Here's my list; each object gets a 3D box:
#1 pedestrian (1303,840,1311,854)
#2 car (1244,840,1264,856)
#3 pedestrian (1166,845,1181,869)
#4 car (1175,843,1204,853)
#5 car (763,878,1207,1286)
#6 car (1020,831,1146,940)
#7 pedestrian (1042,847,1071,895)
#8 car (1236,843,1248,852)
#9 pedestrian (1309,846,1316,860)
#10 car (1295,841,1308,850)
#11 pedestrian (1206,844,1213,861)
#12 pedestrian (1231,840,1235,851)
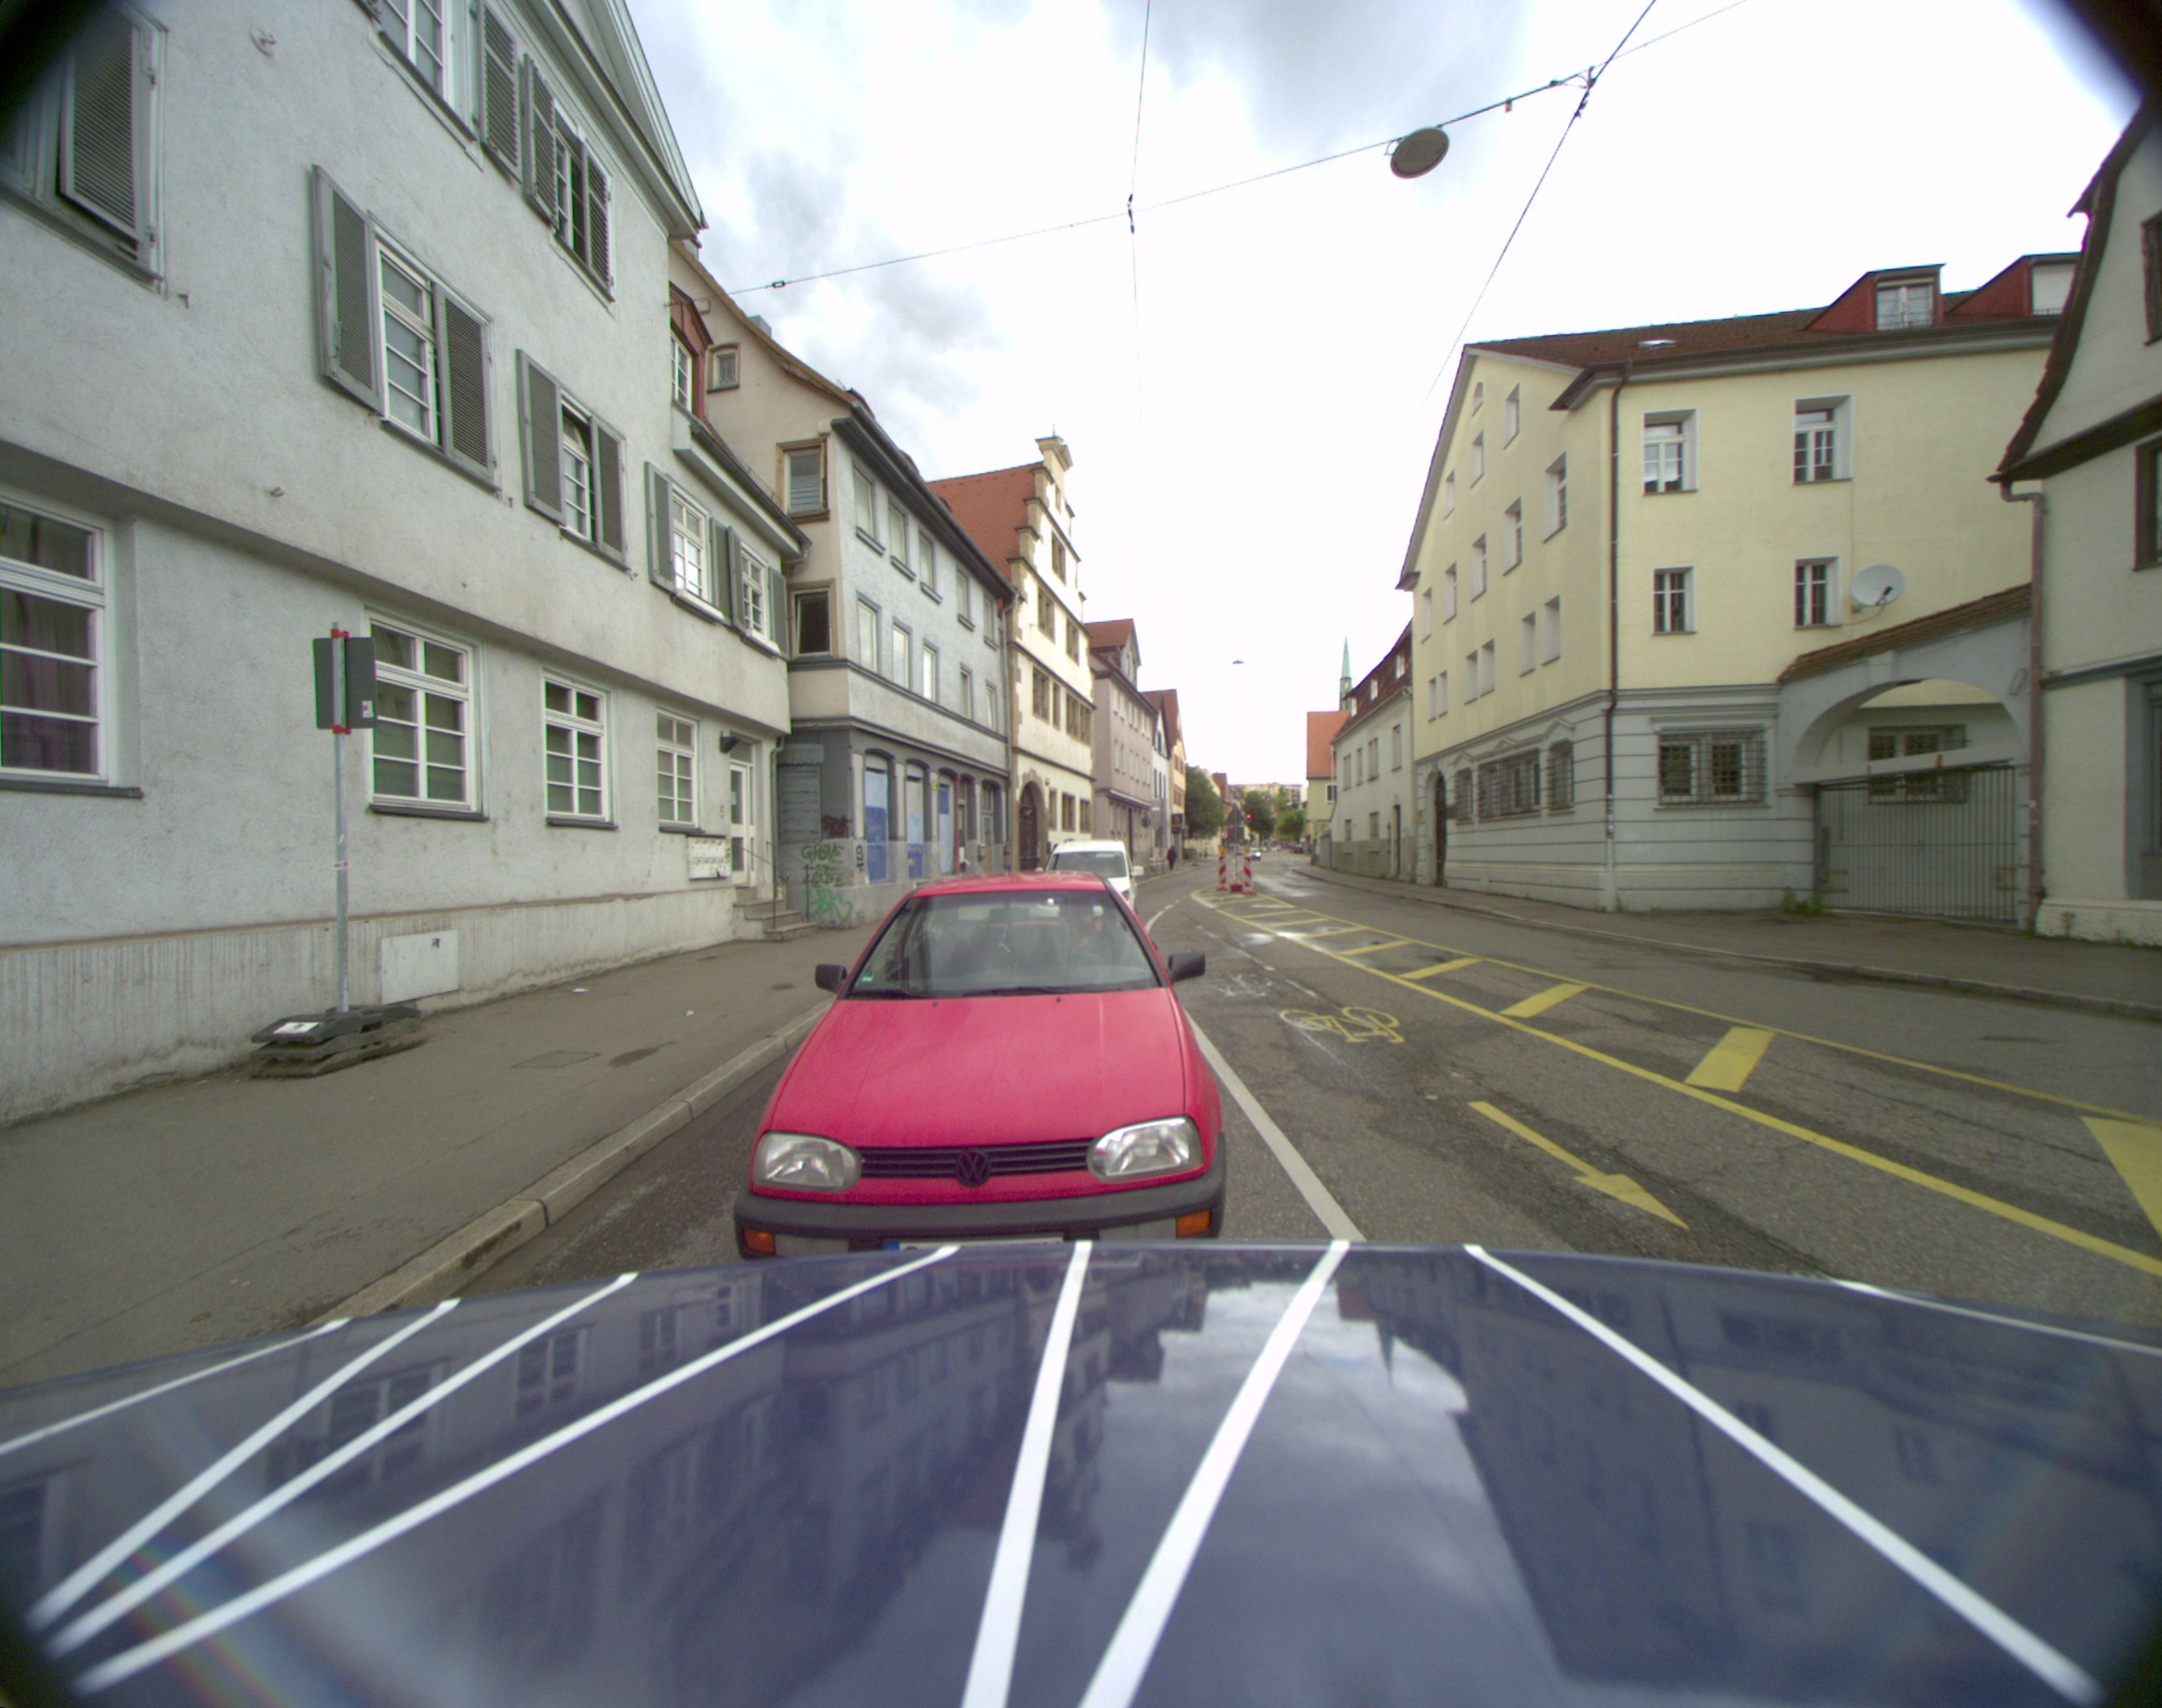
[{"bbox_3d":[34.413,-1.104,115.667,0.784,2.109,0.757,-1,0,-35],"label":"pedestrian"},{"bbox_3d":[19.914,-0.718,87.247,1.996,1.669,4.004,-1,1,15],"label":"car"},{"bbox_3d":[6.267,0.207,51.602,0.833,1.646,0.945,-1,0,15],"label":"pedestrian"},{"bbox_3d":[16.298,-0.892,113.633,3.992,1.455,2.002,-1,2,17],"label":"car"},{"bbox_3d":[-0.340,0.951,4.951,1.685,1.418,4.021,-1,0,1],"label":"car"},{"bbox_3d":[0.219,0.466,14.669,1.998,1.777,4.468,0,2,6],"label":"car"},{"bbox_3d":[-0.848,0.590,26.812,0.756,1.658,0.810,2,1,15],"label":"pedestrian"},{"bbox_3d":[28.322,-1.129,133.626,2.031,1.546,4.004,0,1,14],"label":"car"},{"bbox_3d":[35.059,-0.084,115.067,0.784,2.109,0.757,-1,0,-36],"label":"pedestrian"},{"bbox_3d":[42.655,-1.674,146.804,2.210,1.668,4.502,0,1,14],"label":"car"},{"bbox_3d":[17.872,-0.175,105.865,0.901,2.297,0.821,-1,0,13],"label":"pedestrian"},{"bbox_3d":[27.376,-1.522,137.067,0.660,2.103,0.646,-1,1,16],"label":"pedestrian"}]
